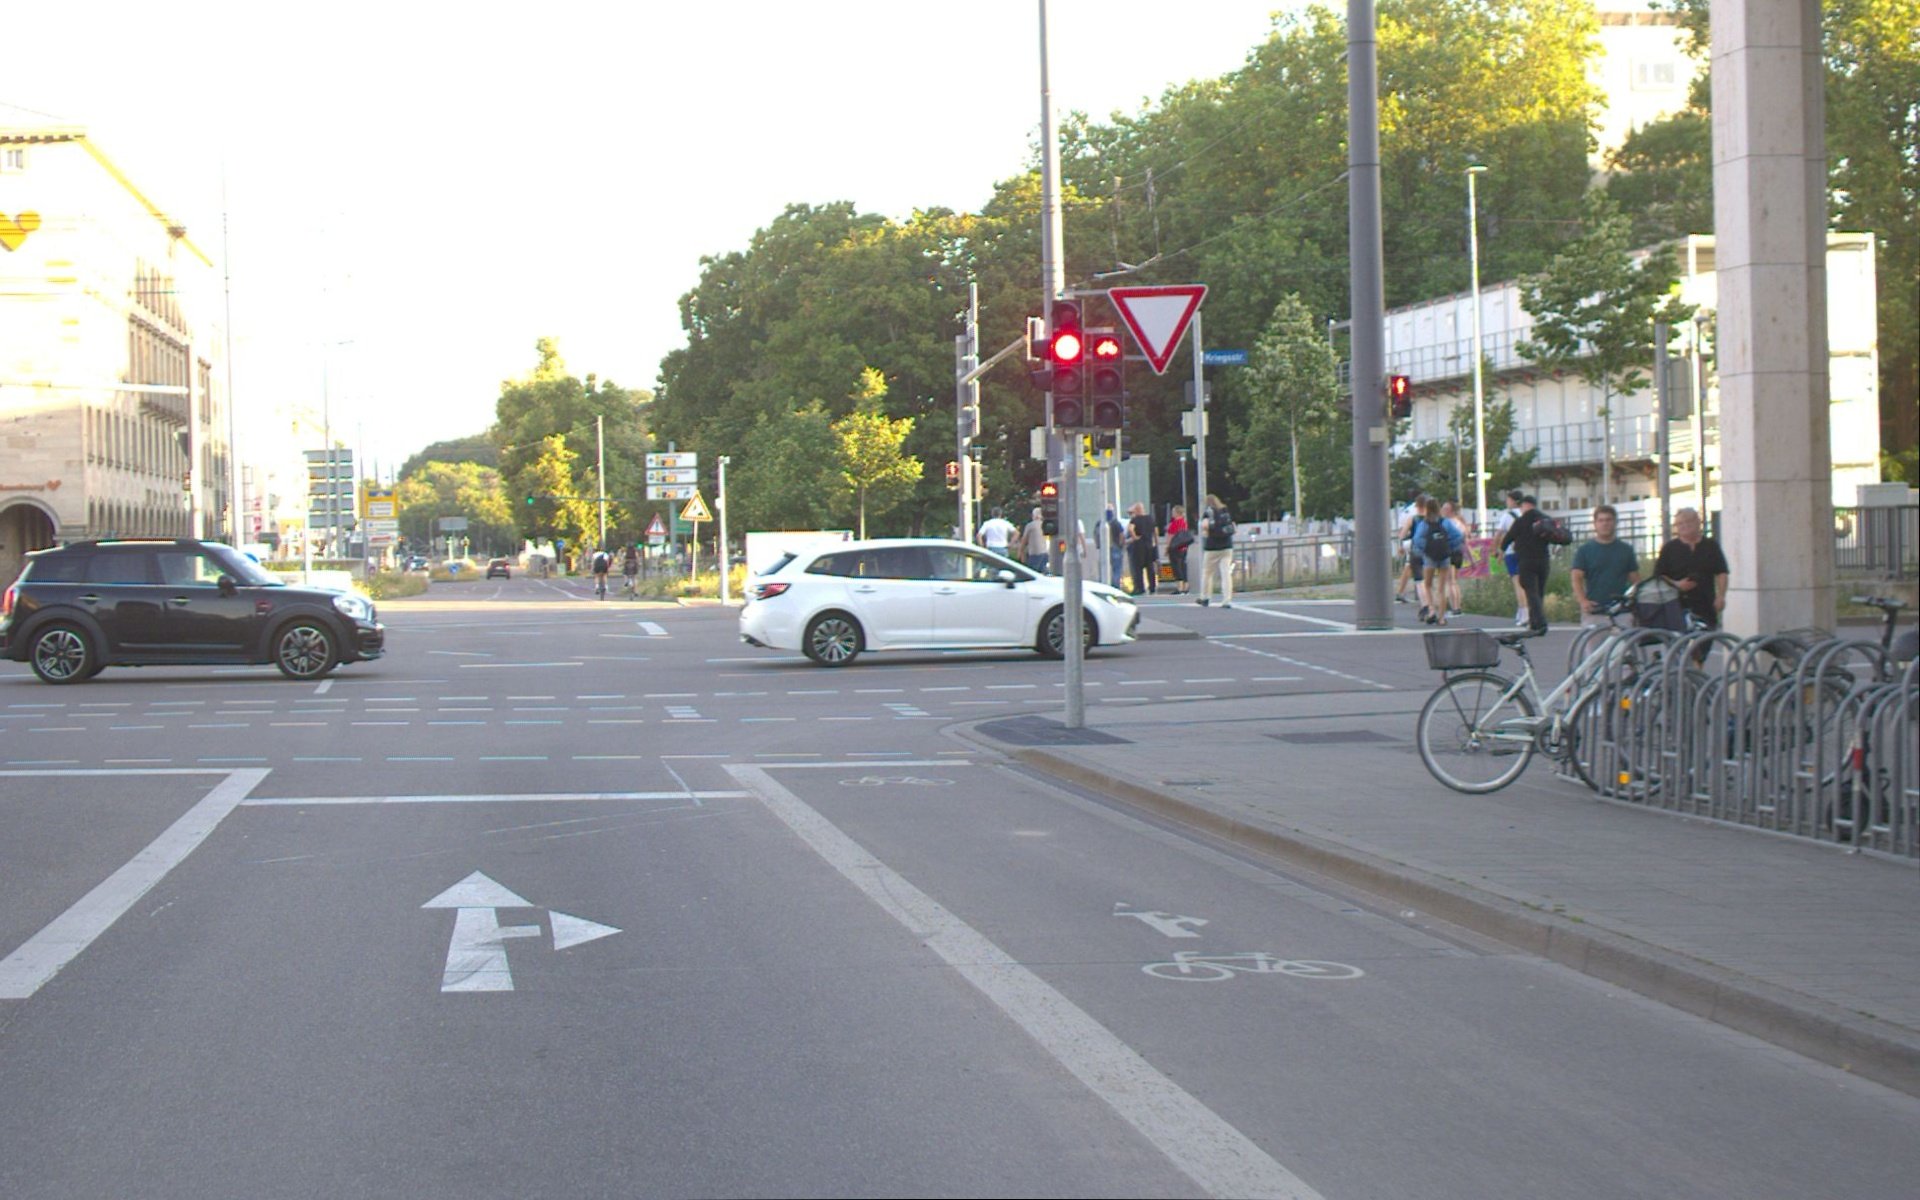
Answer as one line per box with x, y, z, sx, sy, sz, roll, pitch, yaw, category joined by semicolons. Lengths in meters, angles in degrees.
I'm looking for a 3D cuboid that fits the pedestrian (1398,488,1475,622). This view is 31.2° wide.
6.242;-0.598;45.091;0.893;1.724;0.688;-1;1;1;pedestrian

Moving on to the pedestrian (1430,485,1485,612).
6.863;-0.713;47.404;0.686;1.724;0.895;-1;1;11;pedestrian

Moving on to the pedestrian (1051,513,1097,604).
2.189;-0.793;65.890;0.808;1.724;0.688;-1;1;5;pedestrian

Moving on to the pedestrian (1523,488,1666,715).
5.171;0.006;28.038;0.860;1.770;0.741;-4;2;-7;pedestrian

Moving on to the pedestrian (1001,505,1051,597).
1.246;-0.930;64.931;0.808;1.724;0.688;-1;1;-9;pedestrian

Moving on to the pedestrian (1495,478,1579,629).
7.106;-0.577;42.382;0.893;1.824;0.688;-1;1;1;pedestrian

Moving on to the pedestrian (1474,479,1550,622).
7.189;-0.651;44.802;0.893;1.834;0.688;-1;1;4;pedestrian

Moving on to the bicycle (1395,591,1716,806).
3.495;0.577;20.279;1.818;1.208;0.570;-1;1;8;bicycle

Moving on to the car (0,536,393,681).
-8.745;0.069;39.122;4.459;1.490;2.128;-1;1;-8;car

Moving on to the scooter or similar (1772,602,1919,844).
4.800;0.595;17.175;1.275;1.156;0.674;-1;1;-9;scooter or similar

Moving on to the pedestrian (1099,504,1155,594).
3.248;-0.997;66.763;0.686;1.724;0.810;-2;2;-41;pedestrian

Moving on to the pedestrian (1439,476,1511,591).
7.802;-1.008;52.047;0.837;1.724;0.686;0;1;33;pedestrian

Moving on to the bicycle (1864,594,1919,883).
5.088;0.613;15.426;1.866;1.255;0.674;0;1;-9;bicycle

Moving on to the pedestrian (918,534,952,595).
-0.722;-1.019;97.910;0.808;1.724;0.929;-1;1;-9;pedestrian

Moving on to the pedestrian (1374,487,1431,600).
6.852;-0.876;53.210;0.836;1.724;0.688;-1;1;8;pedestrian

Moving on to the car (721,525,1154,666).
-0.307;-0.080;40.267;4.795;1.490;2.128;-1;1;-8;car

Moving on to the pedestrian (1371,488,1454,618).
6.108;-0.637;46.417;0.685;1.724;0.896;-2;1;-29;pedestrian

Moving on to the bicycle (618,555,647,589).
-9.603;-0.820;100.794;0.651;0.967;1.485;-1;1;-11;bicycle

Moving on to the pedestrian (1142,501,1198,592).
4.033;-1.030;65.927;0.686;1.724;0.811;-2;1;-34;pedestrian

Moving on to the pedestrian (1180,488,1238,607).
3.687;-0.780;50.947;0.692;1.724;0.741;-1;1;-6;pedestrian

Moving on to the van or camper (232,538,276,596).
-34.766;-1.647;169.455;1.883;2.751;4.933;-1;1;-10;van or camper

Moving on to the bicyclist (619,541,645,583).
-9.626;-1.123;100.766;0.651;1.219;0.861;-1;1;-11;bicyclist

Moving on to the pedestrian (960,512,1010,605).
0.470;-0.789;64.725;0.808;1.724;0.688;-1;1;-9;pedestrian

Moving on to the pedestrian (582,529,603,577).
-10.480;-1.342;98.013;0.522;1.369;0.688;-1;1;-11;pedestrian

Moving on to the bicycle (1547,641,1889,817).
4.409;0.741;20.010;1.866;0.933;0.516;-1;1;-9;bicycle

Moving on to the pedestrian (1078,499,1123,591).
2.670;-1.043;65.255;0.808;1.724;0.688;-1;1;5;pedestrian

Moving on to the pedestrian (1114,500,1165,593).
3.403;-1.018;65.277;0.808;1.724;0.688;-1;1;-9;pedestrian

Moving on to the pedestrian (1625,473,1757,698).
5.980;-0.129;28.145;0.756;1.770;0.741;-4;2;-7;pedestrian
